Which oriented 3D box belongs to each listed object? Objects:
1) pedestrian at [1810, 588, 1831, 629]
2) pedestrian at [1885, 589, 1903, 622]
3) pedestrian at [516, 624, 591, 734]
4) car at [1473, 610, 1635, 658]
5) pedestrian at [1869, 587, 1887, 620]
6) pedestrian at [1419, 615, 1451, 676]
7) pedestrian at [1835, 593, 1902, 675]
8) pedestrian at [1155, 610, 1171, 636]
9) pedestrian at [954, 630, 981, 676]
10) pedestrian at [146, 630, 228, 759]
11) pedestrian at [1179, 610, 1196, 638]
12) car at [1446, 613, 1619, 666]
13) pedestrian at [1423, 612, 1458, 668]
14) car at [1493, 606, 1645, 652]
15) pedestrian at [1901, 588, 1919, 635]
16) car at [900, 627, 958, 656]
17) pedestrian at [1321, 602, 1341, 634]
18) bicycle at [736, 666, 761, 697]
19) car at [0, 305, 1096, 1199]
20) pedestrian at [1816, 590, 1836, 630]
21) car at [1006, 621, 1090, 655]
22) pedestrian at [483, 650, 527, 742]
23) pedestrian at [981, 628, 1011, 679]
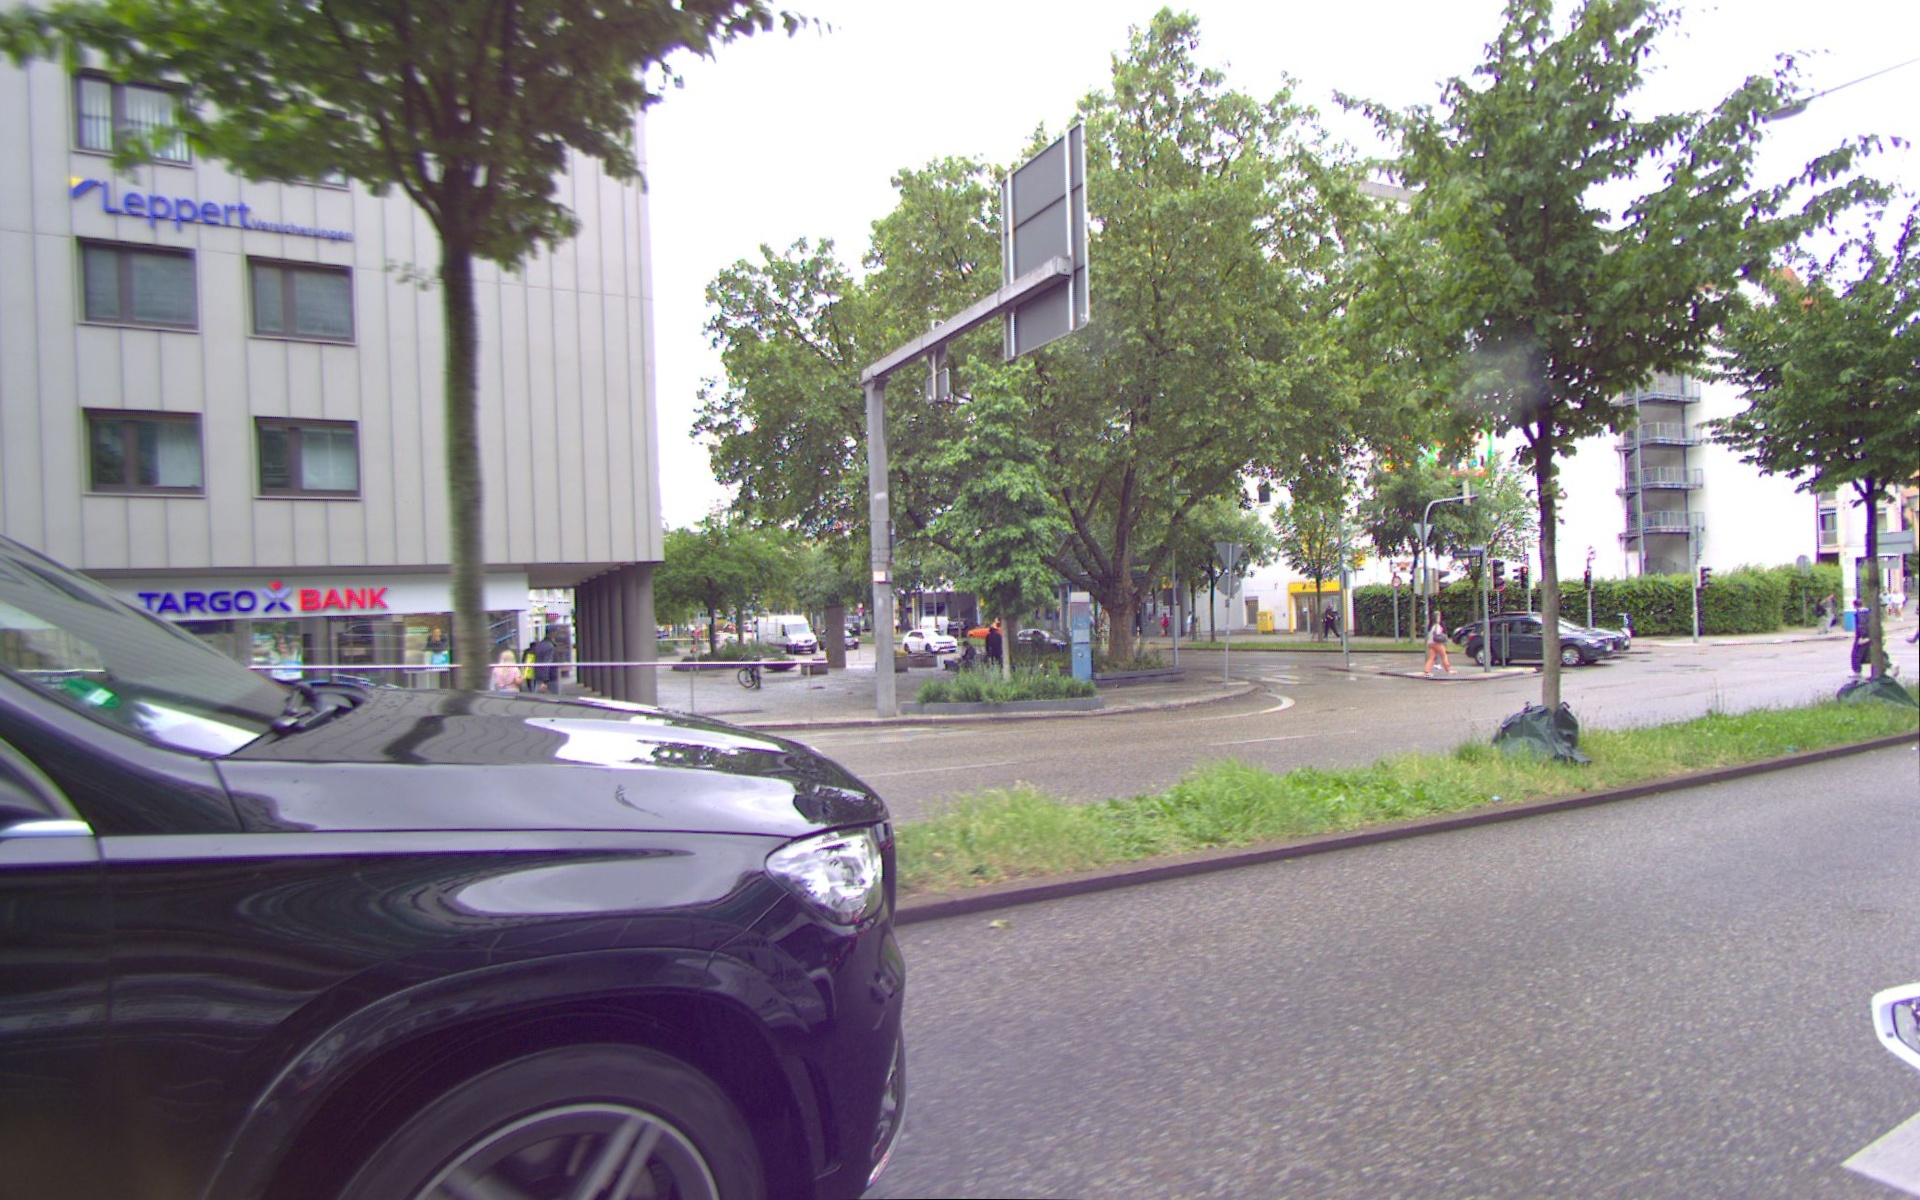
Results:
[{"bbox_3d":[38.150,0.392,44.516,0.741,1.771,0.535,2,0,-39],"label":"pedestrian"},{"bbox_3d":[50.843,0.291,54.655,0.651,1.751,0.591,2,0,-39],"label":"pedestrian"},{"bbox_3d":[-6.579,1.261,16.247,0.954,1.702,0.703,2,0,-34],"label":"pedestrian"},{"bbox_3d":[20.422,1.192,34.684,1.779,1.474,4.452,-2,-2,-42],"label":"car"},{"bbox_3d":[50.206,0.177,54.920,0.651,1.751,0.591,2,0,-39],"label":"pedestrian"},{"bbox_3d":[13.445,1.268,28.432,0.572,1.684,0.554,-2,0,-30],"label":"pedestrian"},{"bbox_3d":[20.633,0.764,22.823,0.700,1.807,0.920,2,0,-27],"label":"pedestrian"},{"bbox_3d":[13.211,1.489,65.271,0.723,1.664,0.635,2,0,-24],"label":"pedestrian"},{"bbox_3d":[0.273,1.983,37.782,0.780,1.719,0.721,1,-2,-27],"label":"pedestrian"},{"bbox_3d":[-11.147,1.351,14.504,0.739,1.807,0.550,2,0,-19],"label":"pedestrian"},{"bbox_3d":[14.224,1.499,62.799,0.630,1.664,0.729,2,0,-25],"label":"pedestrian"},{"bbox_3d":[18.182,1.288,32.055,1.779,1.474,4.452,-2,-2,-42],"label":"car"},{"bbox_3d":[14.725,1.216,30.790,0.620,1.684,0.749,-2,0,-30],"label":"pedestrian"},{"bbox_3d":[22.476,1.103,37.175,1.779,1.474,4.452,-2,-2,-42],"label":"car"},{"bbox_3d":[33.019,0.412,34.350,0.677,1.599,1.055,2,0,-34],"label":"pedestrian"},{"bbox_3d":[-1.900,2.427,59.692,1.619,1.506,4.271,0,1,-31],"label":"car"},{"bbox_3d":[20.289,0.984,54.913,0.633,1.664,0.726,2,0,-38],"label":"pedestrian"},{"bbox_3d":[-7.358,2.823,34.898,0.512,0.918,2.064,2,-1,-20],"label":"bicycle"},{"bbox_3d":[-2.381,0.554,1.596,5.014,1.895,1.902,2,-1,-30],"label":"car"},{"bbox_3d":[39.264,0.438,45.528,0.559,1.771,0.535,2,0,-35],"label":"pedestrian"},{"bbox_3d":[4.353,1.872,50.160,1.691,1.586,4.192,0,-2,-40],"label":"car"},{"bbox_3d":[-8.844,1.844,19.515,0.701,1.702,0.745,2,0,-28],"label":"pedestrian"},{"bbox_3d":[1.228,1.832,34.517,0.719,1.719,0.782,2,-2,-36],"label":"pedestrian"}]
